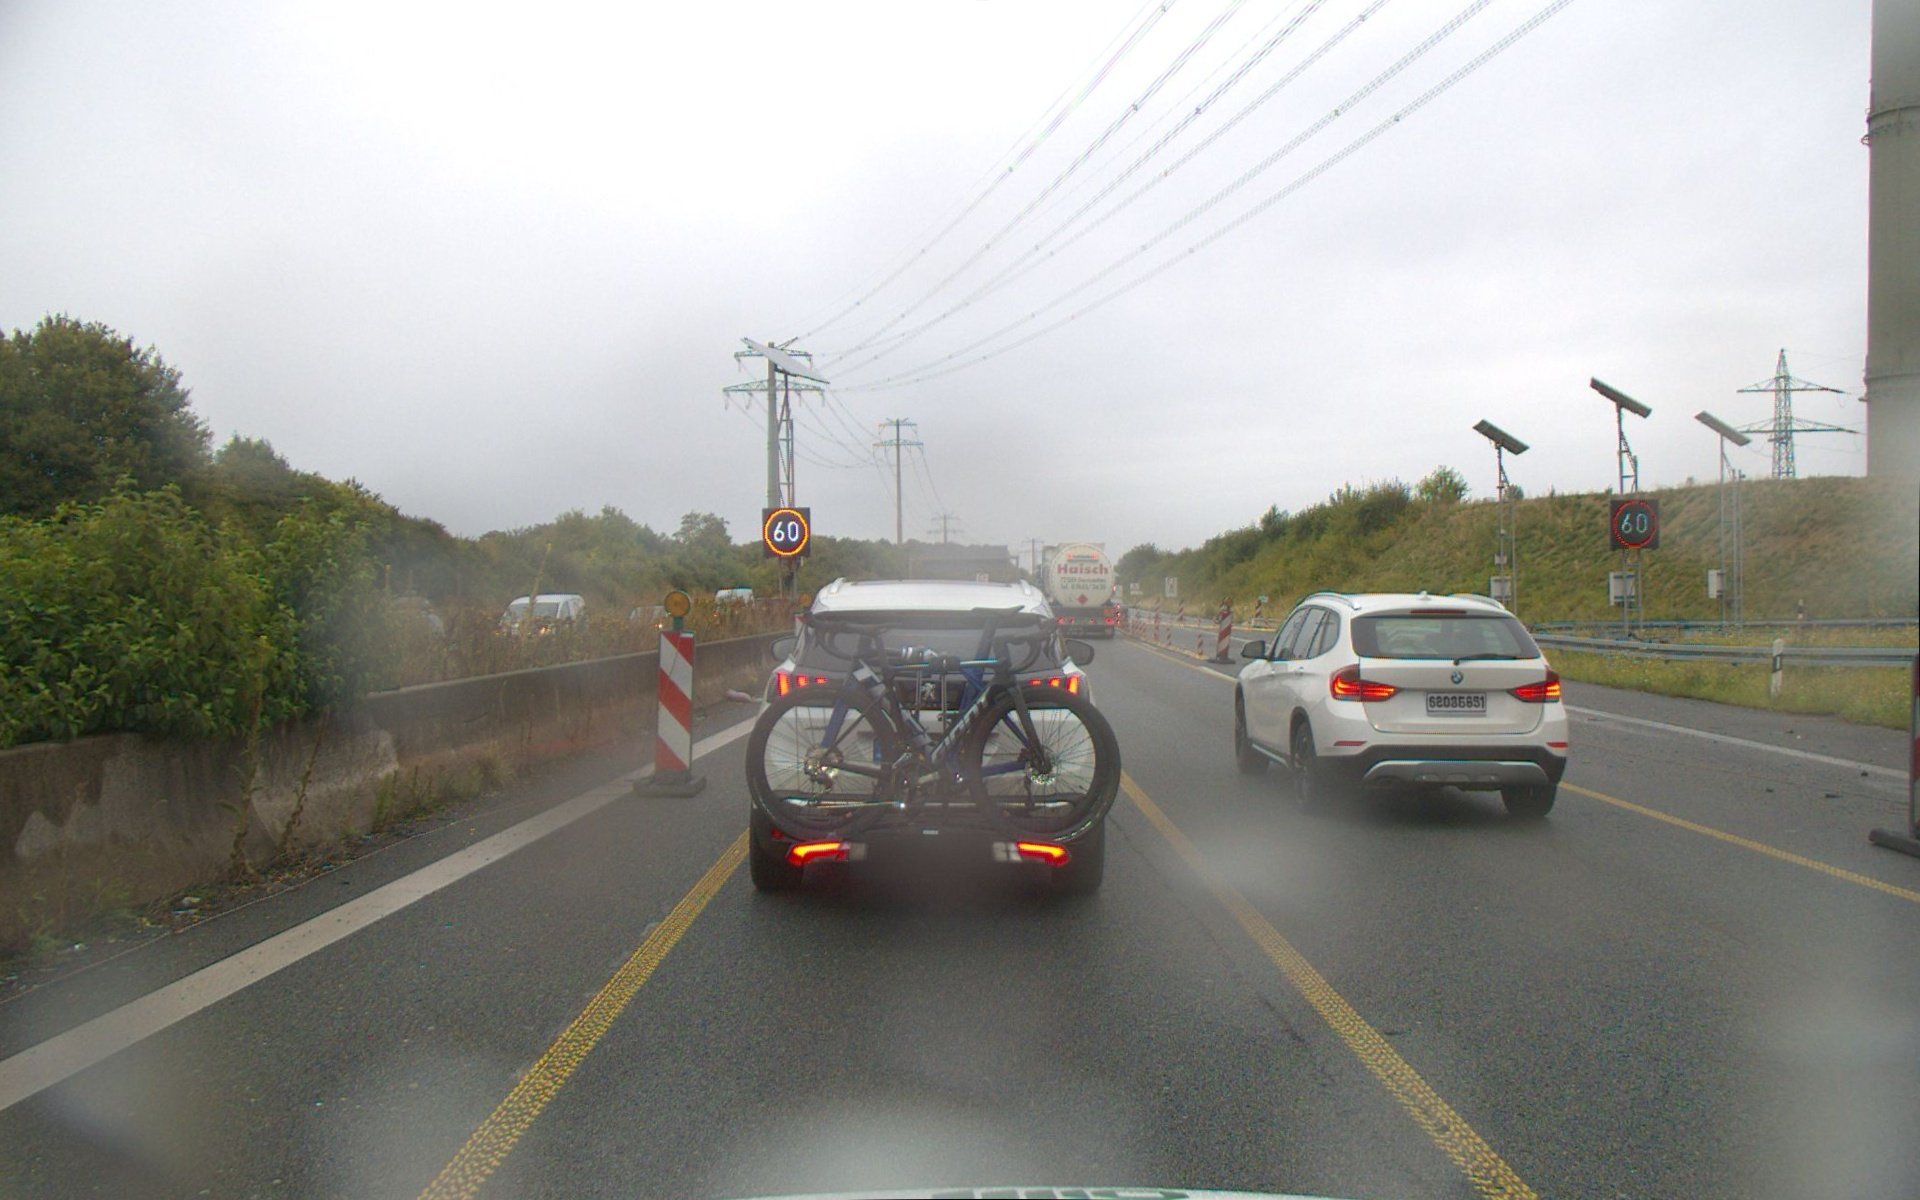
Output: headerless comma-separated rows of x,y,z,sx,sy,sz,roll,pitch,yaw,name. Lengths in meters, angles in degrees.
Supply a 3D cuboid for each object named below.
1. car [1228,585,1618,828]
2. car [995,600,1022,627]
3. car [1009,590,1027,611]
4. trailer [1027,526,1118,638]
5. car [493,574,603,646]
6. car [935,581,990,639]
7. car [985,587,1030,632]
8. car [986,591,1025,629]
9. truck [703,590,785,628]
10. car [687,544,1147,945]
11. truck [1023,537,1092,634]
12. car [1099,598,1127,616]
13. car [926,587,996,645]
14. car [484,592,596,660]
3.325,0.678,12.755,1.832,1.561,4.196,0,0,0,car
3.840,1.068,130.618,1.953,2.049,3.999,1,-1,-1,car
5.672,0.011,161.883,1.619,2.049,4.002,0,0,3,car
4.214,-0.595,64.129,2.584,3.961,10.541,1,0,-1,trailer
-11.231,0.278,45.364,1.953,1.833,4.000,1,-1,0,car
0.073,0.354,62.496,1.953,2.049,3.999,-1,0,-1,car
2.255,0.429,79.085,1.953,2.049,3.999,-1,0,-1,car
2.507,0.558,91.928,1.953,2.049,3.999,1,-1,-1,car
-15.104,0.627,116.150,1.959,2.470,6.413,-1,1,34,truck
-0.119,0.587,9.127,1.888,1.639,4.596,0,0,1,car
4.113,-0.589,70.659,2.591,3.959,4.029,1,-1,-1,truck
10.360,0.472,112.087,1.452,1.181,3.906,-1,0,-1,car
0.002,0.445,48.482,1.953,1.611,3.999,0,0,-1,car
-11.159,0.653,44.201,1.829,1.678,4.001,-1,1,2,car
